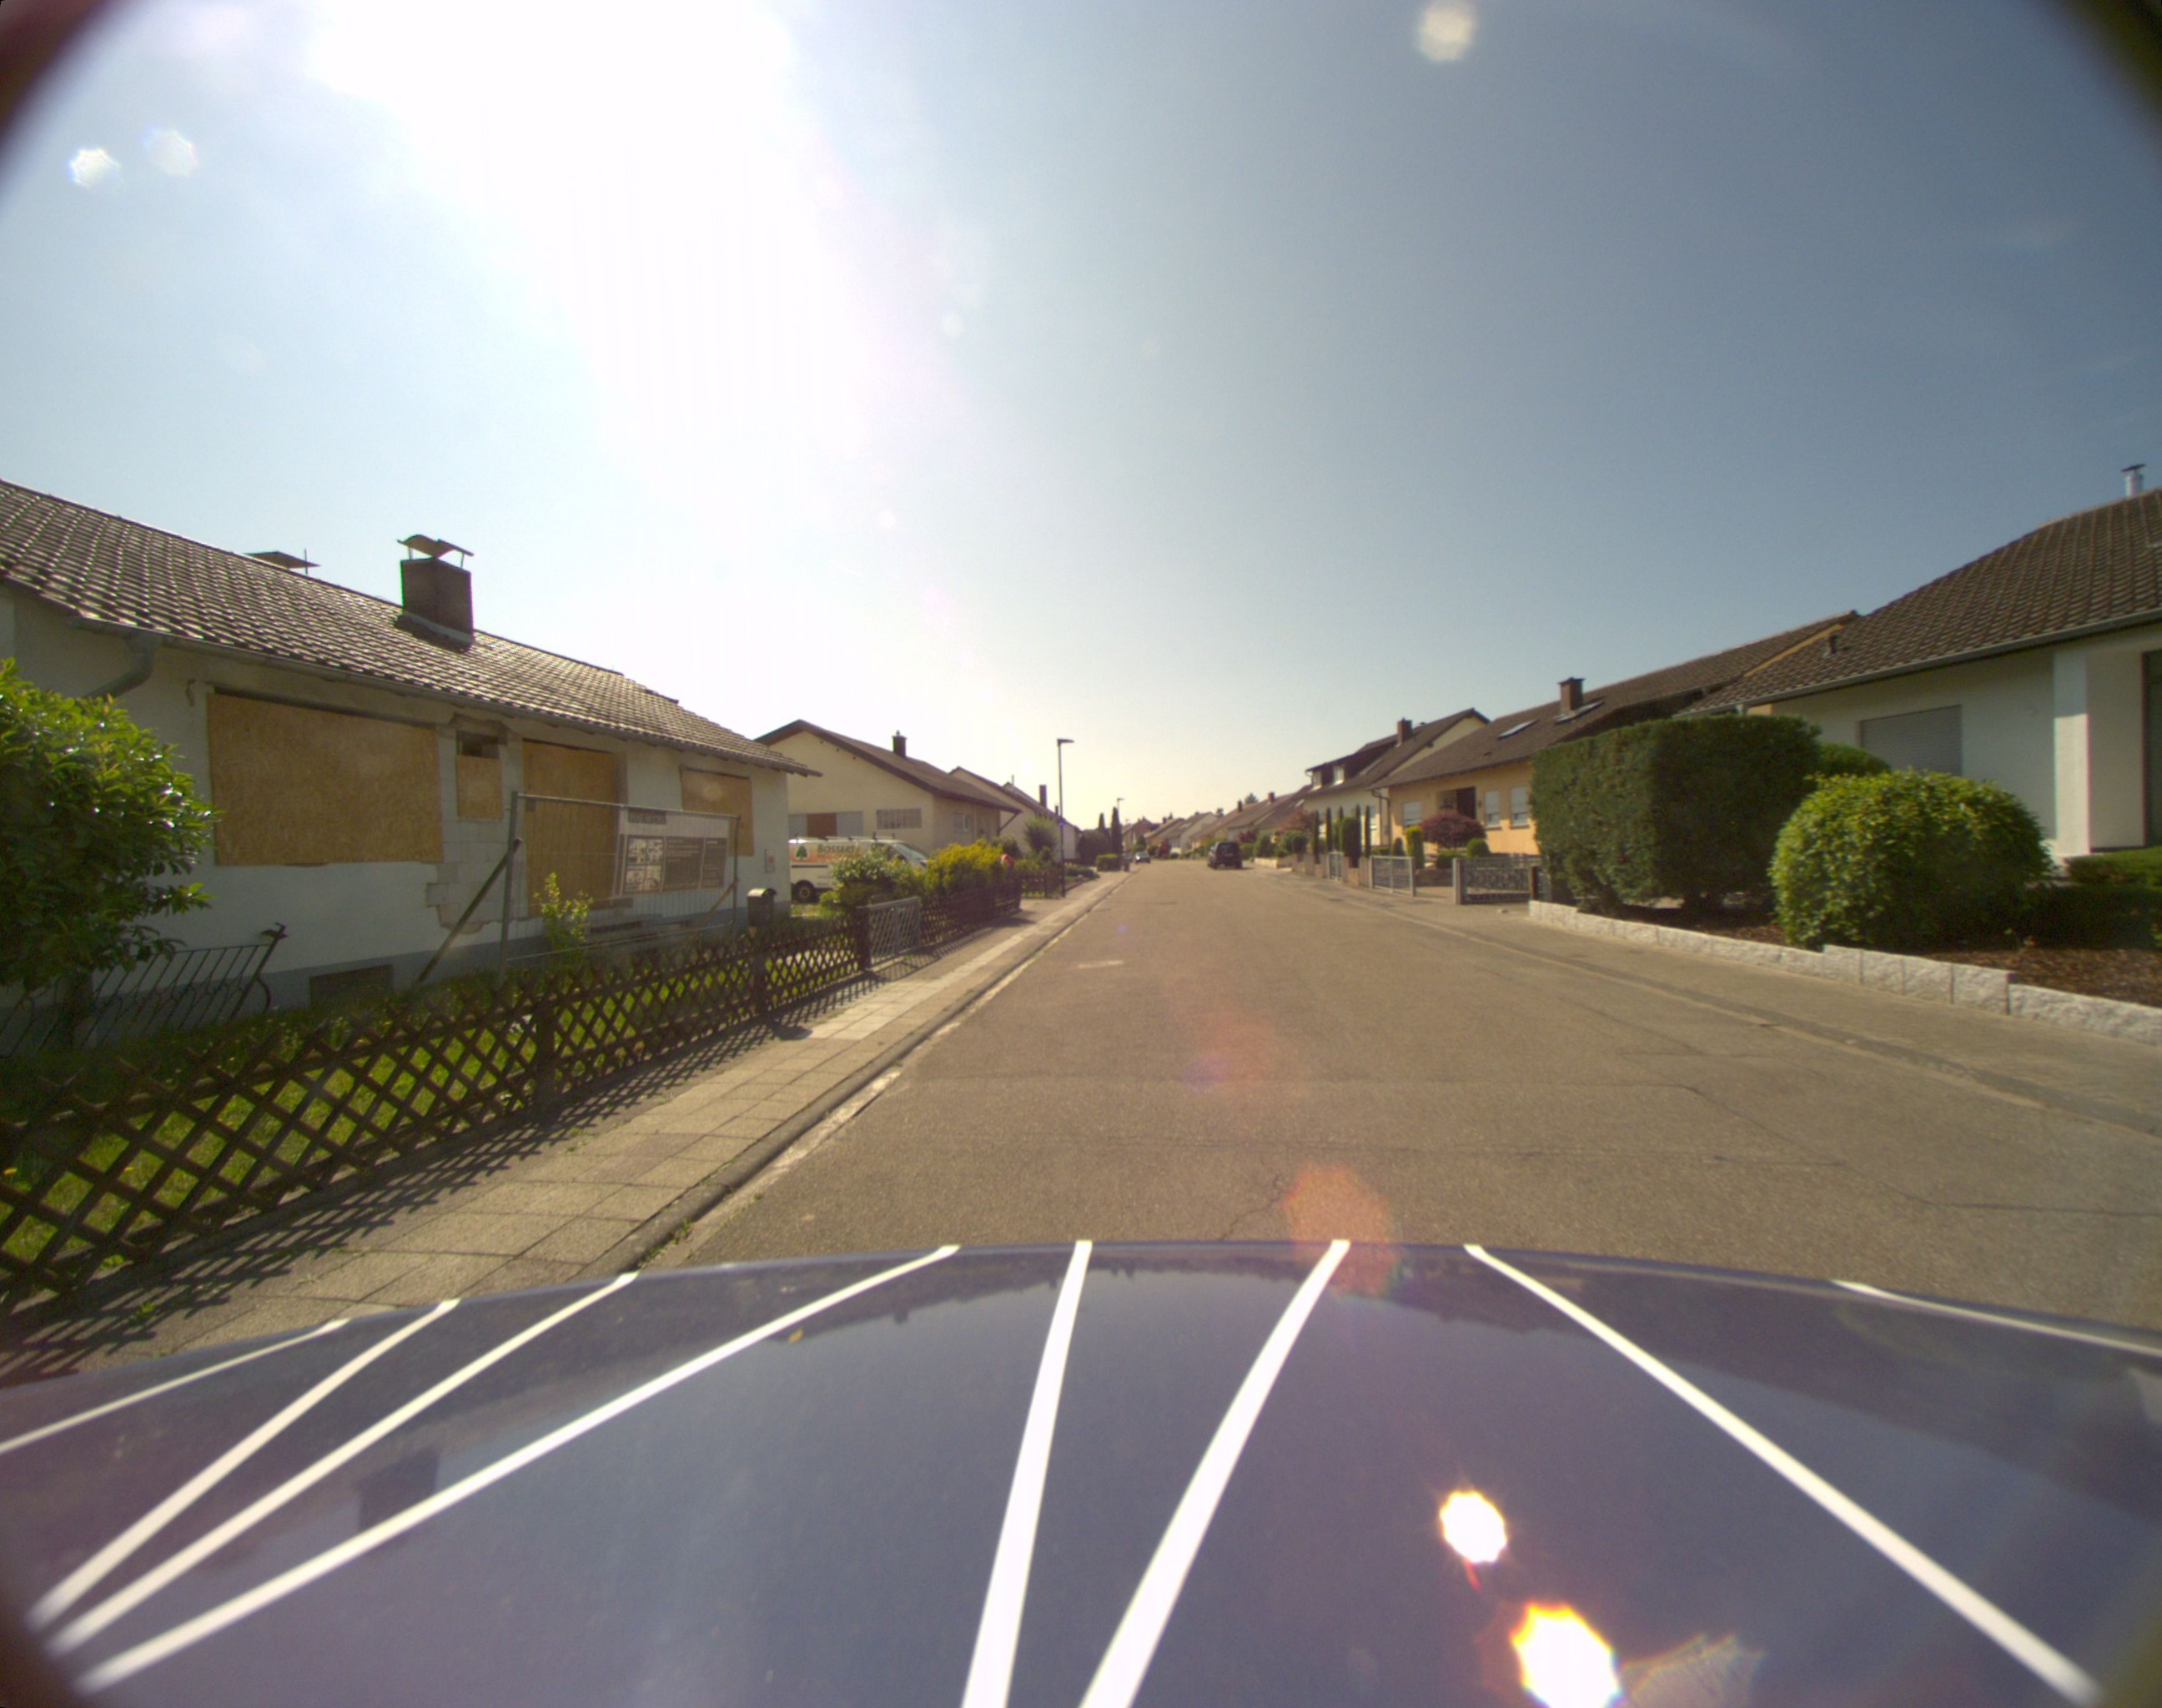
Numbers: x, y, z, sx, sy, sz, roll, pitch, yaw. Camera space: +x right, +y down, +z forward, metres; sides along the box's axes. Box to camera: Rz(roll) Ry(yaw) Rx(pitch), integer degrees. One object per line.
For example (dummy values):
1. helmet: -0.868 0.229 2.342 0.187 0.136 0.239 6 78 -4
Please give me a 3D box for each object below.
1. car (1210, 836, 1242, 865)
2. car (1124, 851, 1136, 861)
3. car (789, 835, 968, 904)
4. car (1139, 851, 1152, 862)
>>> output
1. car: 9.416 -0.226 49.448 1.768 1.767 3.654 -2 1 7
2. car: 6.978 0.279 107.375 1.459 1.270 3.103 -1 1 0
3. car: -6.224 0.471 23.624 5.005 2.002 1.869 -1 1 8
4. car: 8.014 0.313 94.479 1.459 1.270 3.103 -1 1 1
